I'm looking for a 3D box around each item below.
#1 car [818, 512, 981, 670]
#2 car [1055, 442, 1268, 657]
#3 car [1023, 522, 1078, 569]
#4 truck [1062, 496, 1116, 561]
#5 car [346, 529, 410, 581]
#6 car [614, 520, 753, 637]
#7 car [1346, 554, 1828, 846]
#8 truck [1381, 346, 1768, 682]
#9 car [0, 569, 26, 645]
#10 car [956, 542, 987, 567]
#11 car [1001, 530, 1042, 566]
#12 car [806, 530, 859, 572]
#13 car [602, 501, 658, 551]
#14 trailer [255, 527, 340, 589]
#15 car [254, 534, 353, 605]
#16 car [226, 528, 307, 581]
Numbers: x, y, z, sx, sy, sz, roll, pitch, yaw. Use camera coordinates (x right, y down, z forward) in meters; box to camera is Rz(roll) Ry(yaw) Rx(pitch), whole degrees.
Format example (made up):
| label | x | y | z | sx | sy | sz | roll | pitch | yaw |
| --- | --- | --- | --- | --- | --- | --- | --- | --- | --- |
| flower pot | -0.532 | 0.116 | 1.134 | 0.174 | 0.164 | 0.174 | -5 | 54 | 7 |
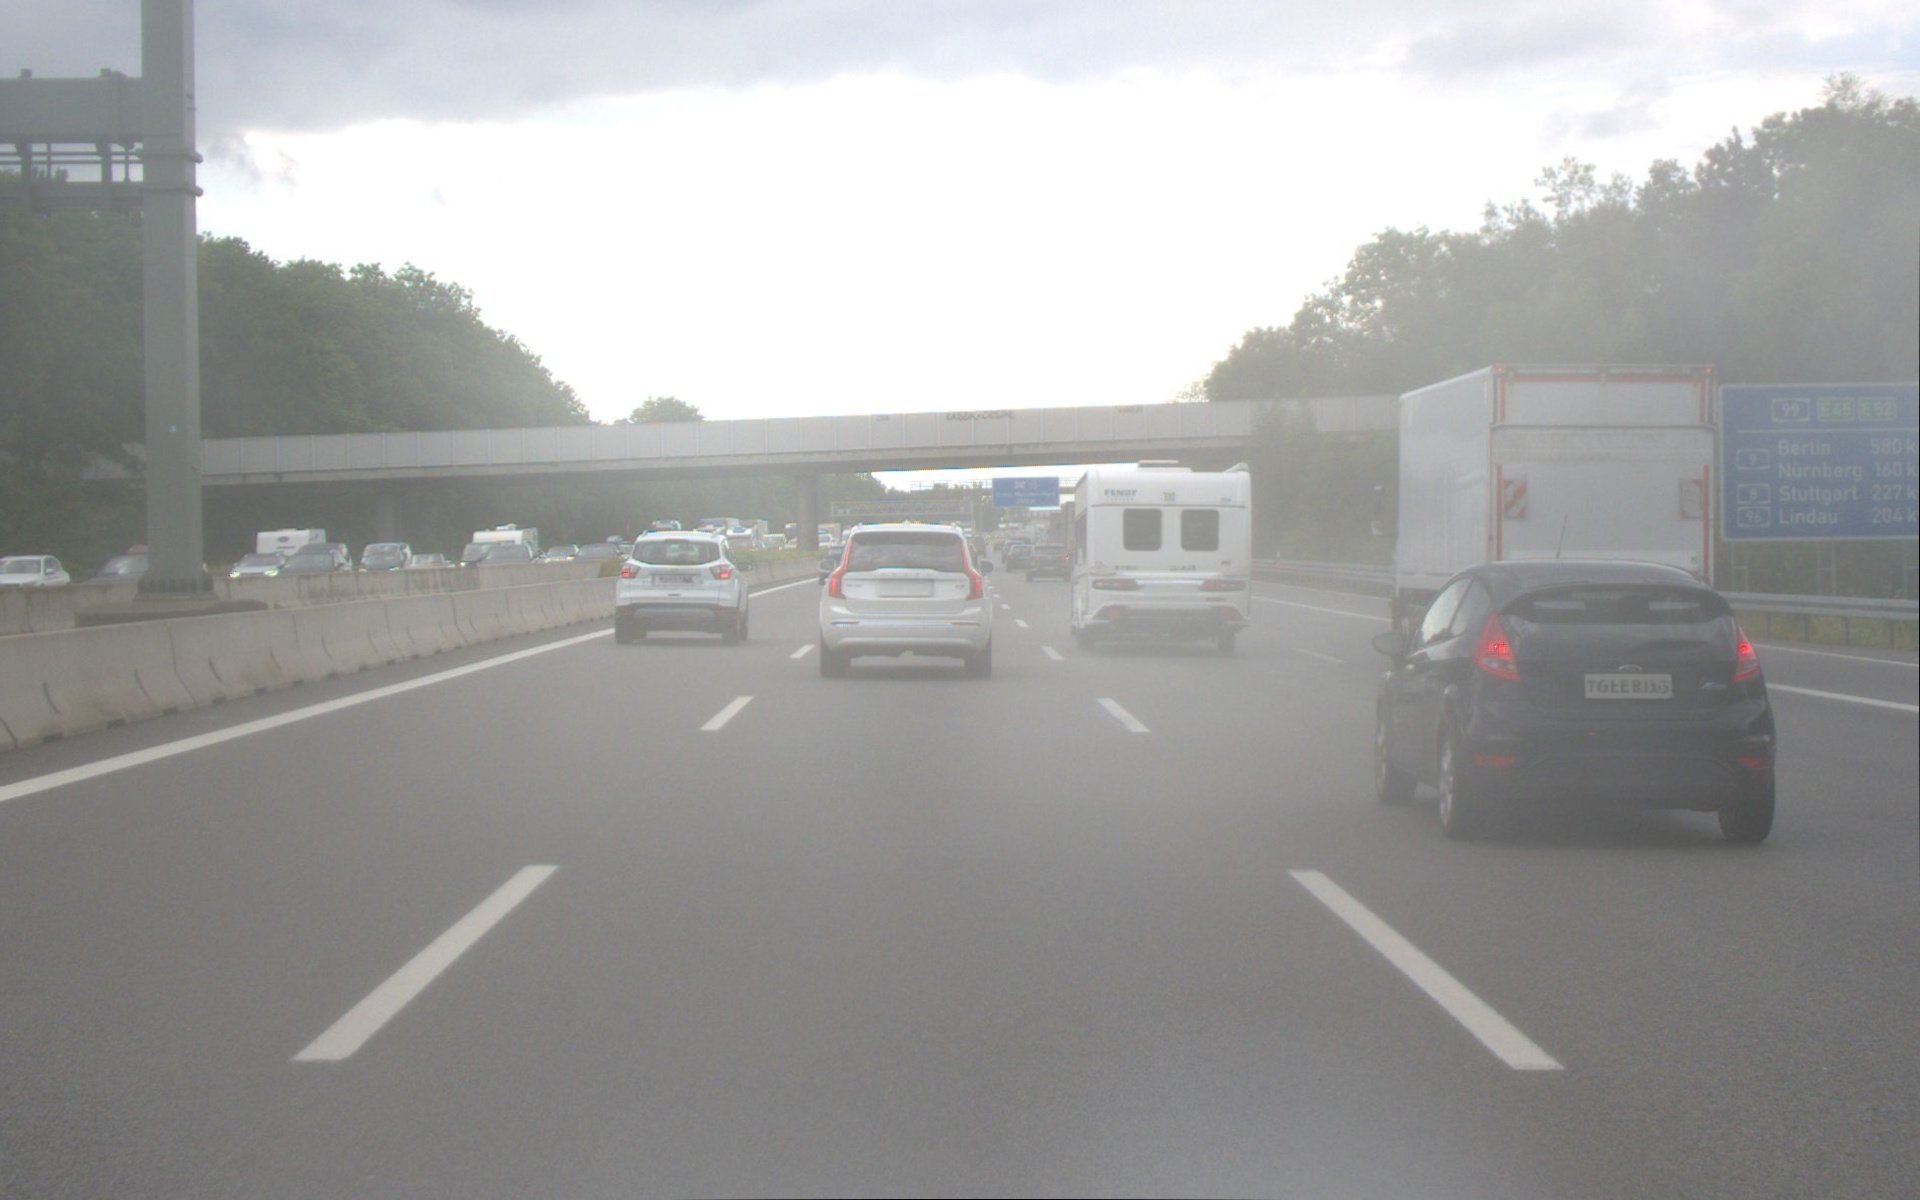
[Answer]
| label | x | y | z | sx | sy | sz | roll | pitch | yaw |
| --- | --- | --- | --- | --- | --- | --- | --- | --- | --- |
| car | -0.652 | -0.139 | 39.953 | 1.781 | 1.710 | 4.353 | 0 | 1 | 0 |
| car | 2.821 | -0.750 | 50.200 | 2.567 | 2.885 | 7.534 | 0 | 1 | -1 |
| car | 3.541 | -2.158 | 135.506 | 2.043 | 1.817 | 4.904 | 0 | 1 | 0 |
| truck | 7.743 | -4.281 | 206.900 | 2.906 | 3.797 | 7.274 | 0 | 1 | 0 |
| car | -22.753 | -1.765 | 134.435 | 1.817 | 2.007 | 4.000 | 0 | 1 | 0 |
| car | -4.157 | -0.371 | 52.253 | 1.815 | 1.684 | 4.852 | 0 | 1 | -1 |
| car | 3.325 | 0.462 | 19.060 | 1.885 | 1.402 | 4.282 | 0 | 1 | 0 |
| truck | 7.407 | -1.040 | 43.038 | 3.133 | 3.697 | 9.848 | 0 | 1 | 1 |
| car | -26.720 | 0.179 | 92.547 | 1.908 | 2.007 | 4.562 | 0 | 1 | 0 |
| car | 0.761 | -3.157 | 236.995 | 1.881 | 1.680 | 4.001 | 0 | 1 | -3 |
| car | 3.202 | -2.733 | 179.904 | 2.043 | 1.817 | 4.904 | 0 | 1 | 0 |
| car | -4.645 | -1.802 | 125.368 | 1.781 | 1.476 | 4.353 | 0 | 1 | 0 |
| car | -14.752 | -3.298 | 154.044 | 1.993 | 2.174 | 5.289 | 0 | 1 | 0 |
| trailer | -25.986 | -1.672 | 135.024 | 2.242 | 2.366 | 5.784 | 0 | 1 | 0 |
| car | -19.175 | -0.915 | 100.602 | 1.993 | 2.007 | 4.765 | 0 | 1 | 0 |
| car | -26.117 | -1.732 | 129.544 | 1.993 | 1.945 | 5.225 | 0 | 1 | 0 |
